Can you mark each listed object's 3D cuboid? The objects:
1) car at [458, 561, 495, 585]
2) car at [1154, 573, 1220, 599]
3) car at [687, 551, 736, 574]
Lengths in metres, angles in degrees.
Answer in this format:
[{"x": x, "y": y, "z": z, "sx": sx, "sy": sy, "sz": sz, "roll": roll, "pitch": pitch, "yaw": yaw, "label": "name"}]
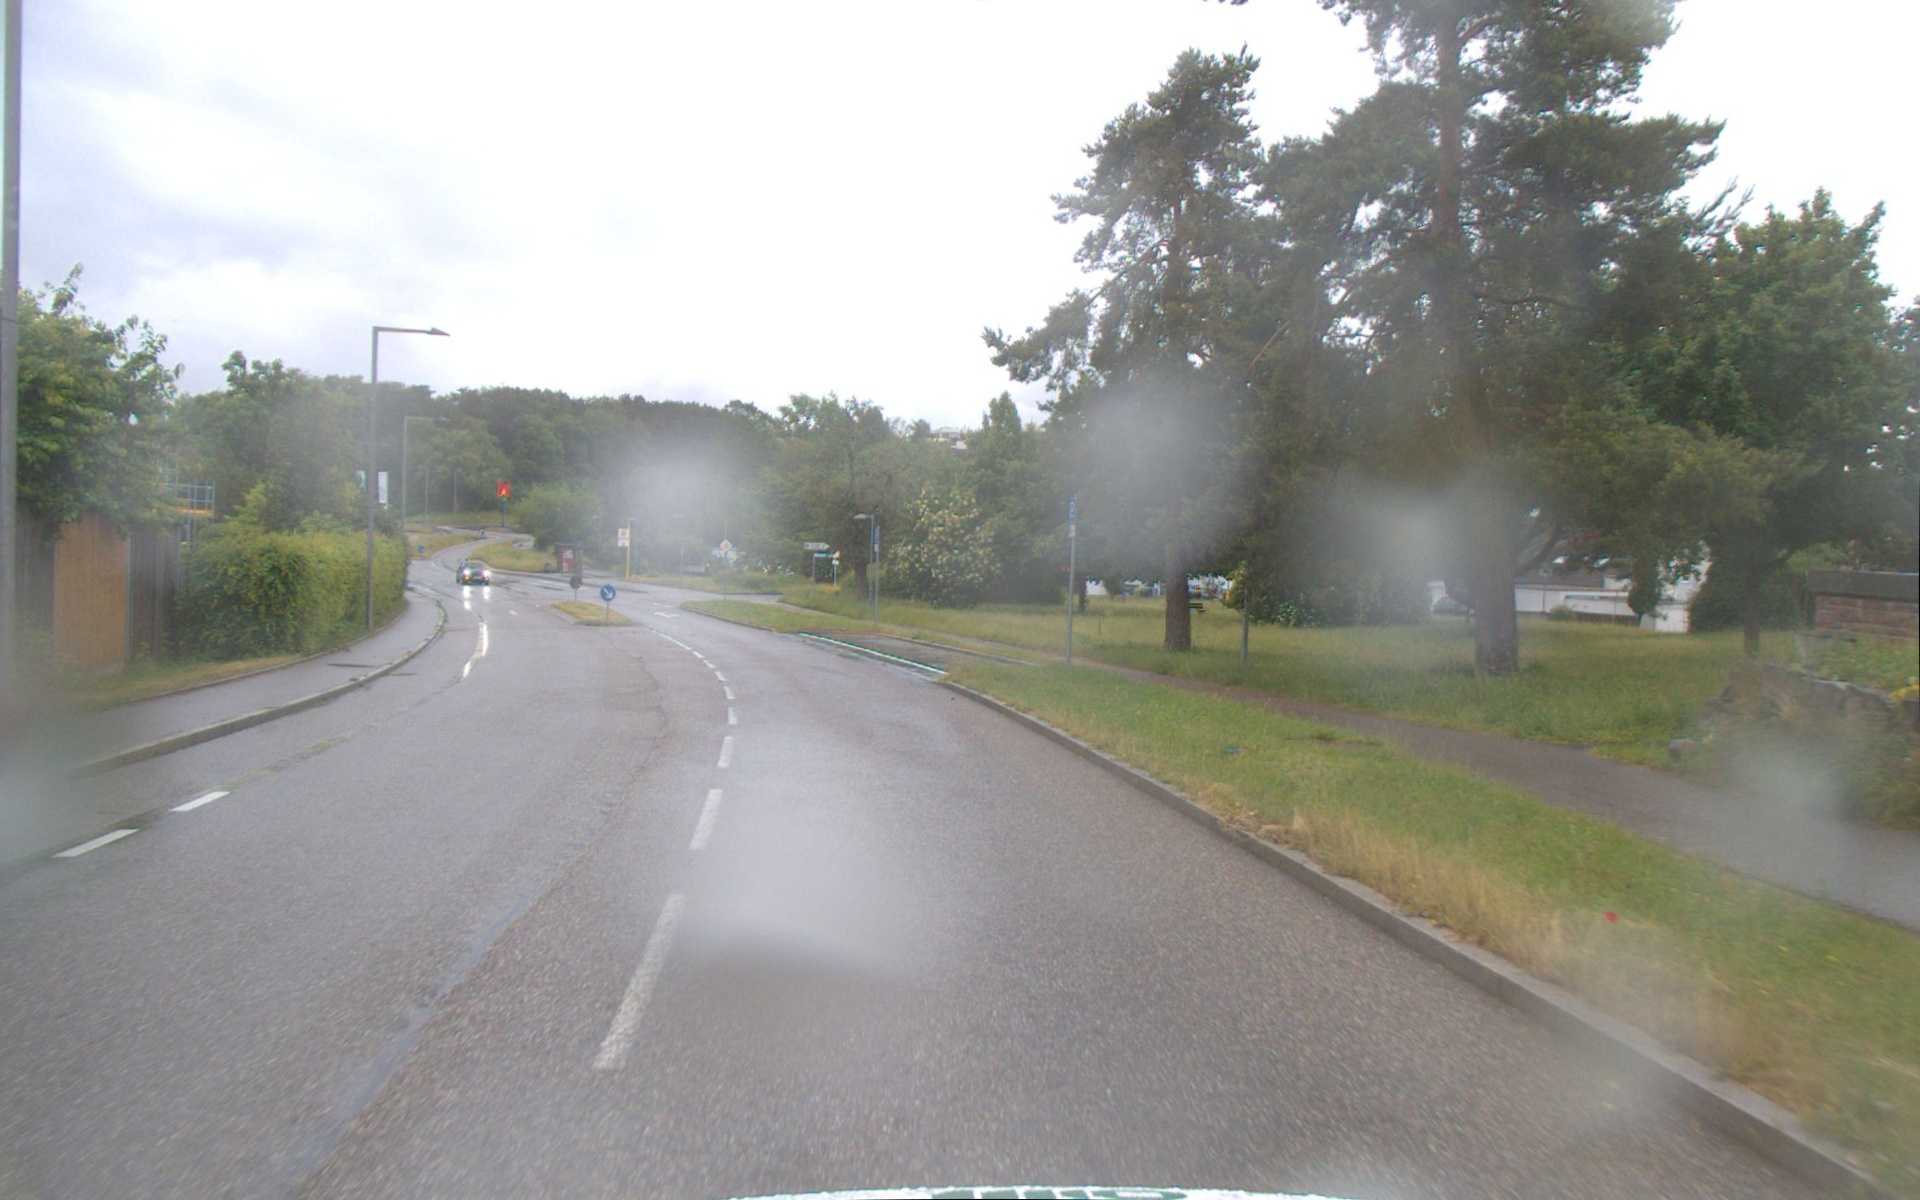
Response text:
[{"x": -31.467, "y": -1.748, "z": 107.691, "sx": 1.440, "sy": 1.379, "sz": 3.497, "roll": 3, "pitch": 1, "yaw": -31, "label": "car"}, {"x": 16.903, "y": -1.031, "z": 123.241, "sx": 4.471, "sy": 1.780, "sz": 1.904, "roll": -1, "pitch": 0, "yaw": 39, "label": "car"}, {"x": -20.196, "y": -3.076, "z": 134.539, "sx": 3.344, "sy": 1.720, "sz": 1.998, "roll": 0, "pitch": -3, "yaw": 25, "label": "car"}]
